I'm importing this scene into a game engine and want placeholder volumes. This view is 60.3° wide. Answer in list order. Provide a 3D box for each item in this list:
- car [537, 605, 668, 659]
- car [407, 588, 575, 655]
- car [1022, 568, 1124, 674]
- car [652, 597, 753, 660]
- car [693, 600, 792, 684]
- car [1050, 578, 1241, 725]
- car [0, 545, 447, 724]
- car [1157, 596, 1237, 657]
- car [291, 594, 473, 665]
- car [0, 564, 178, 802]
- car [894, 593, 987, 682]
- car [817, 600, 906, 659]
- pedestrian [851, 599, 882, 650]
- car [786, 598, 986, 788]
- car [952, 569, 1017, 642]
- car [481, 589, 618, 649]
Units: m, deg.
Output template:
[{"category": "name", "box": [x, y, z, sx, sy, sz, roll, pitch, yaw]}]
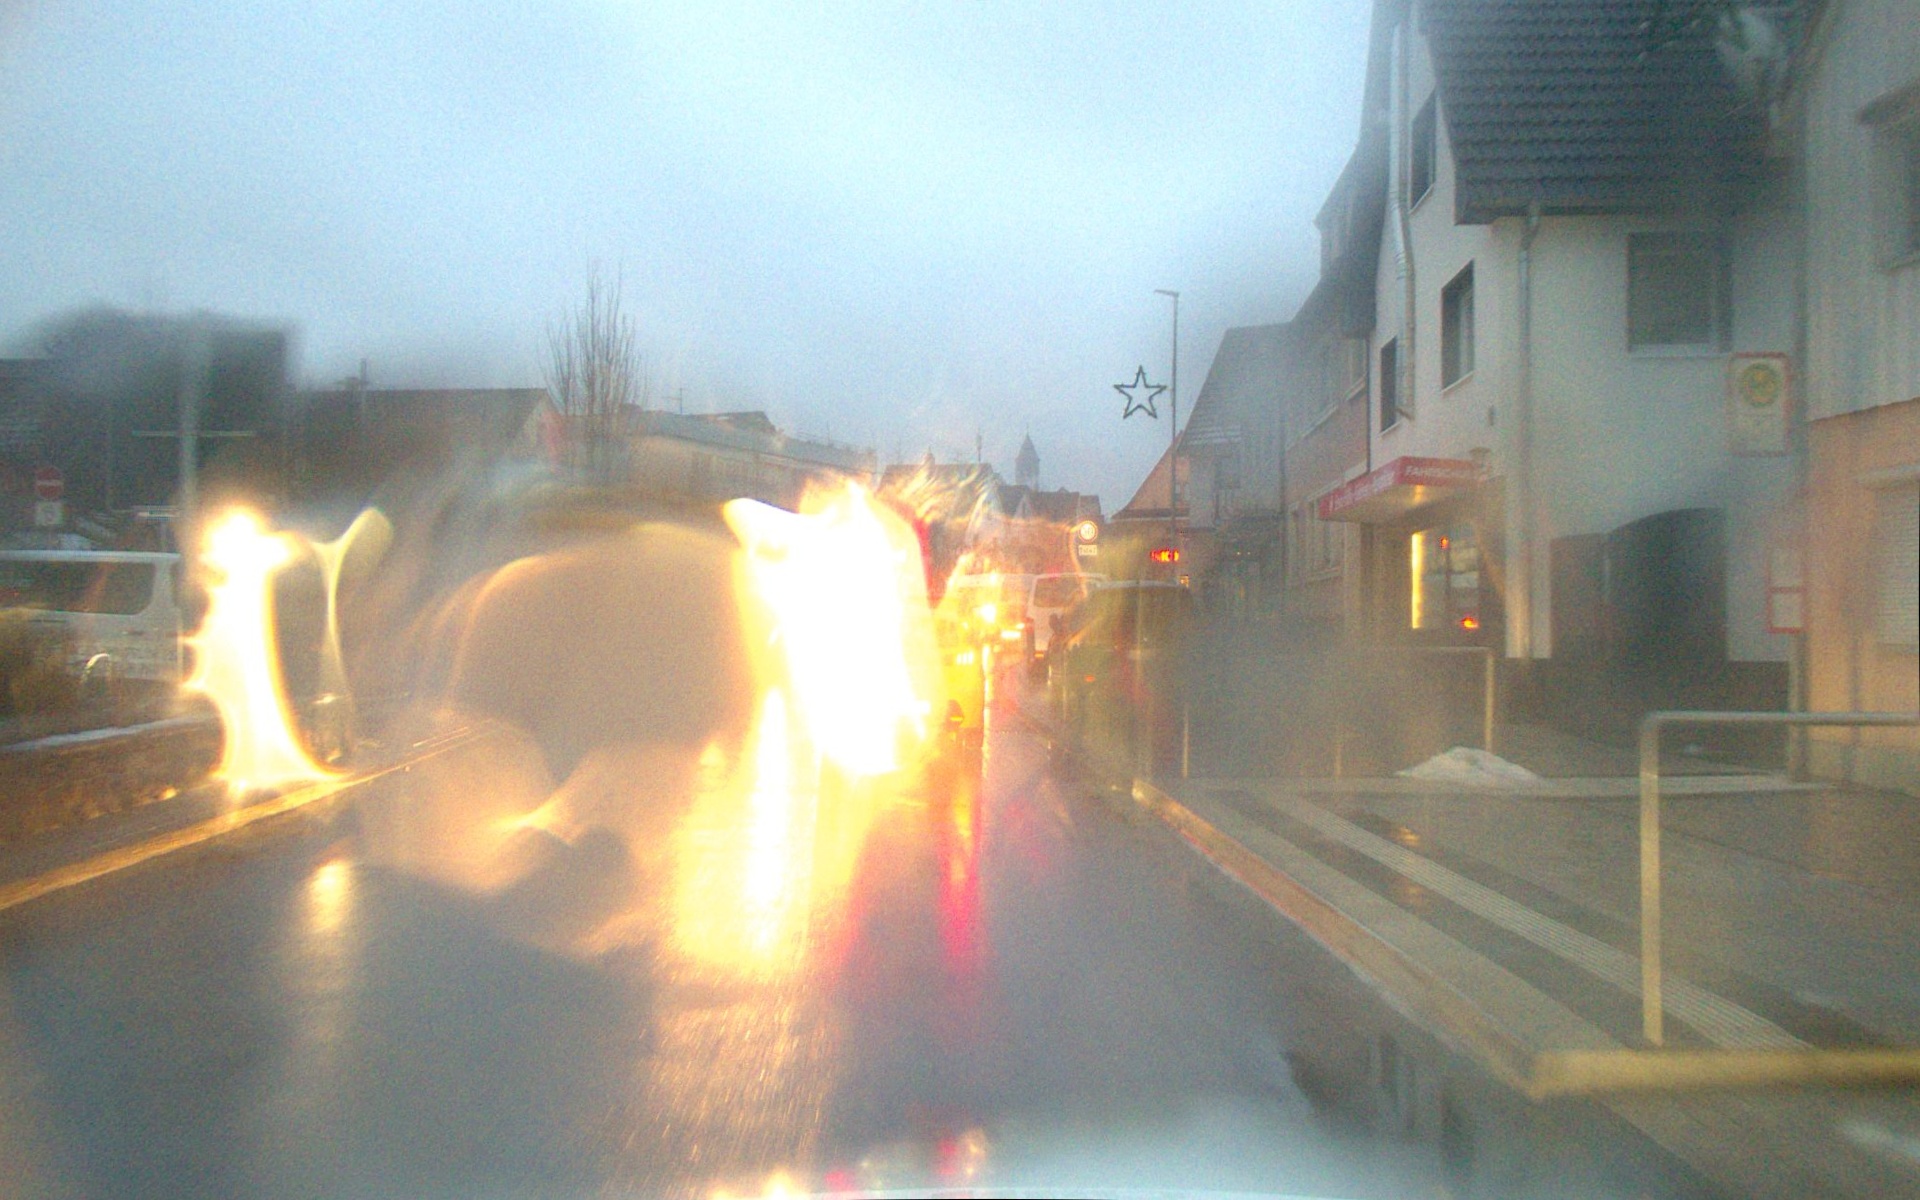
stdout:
[{"category": "car", "box": [-10.831, 0.936, 49.968, 3.929, 1.557, 1.988, 0, 0, 42]}, {"category": "car", "box": [-12.464, 0.585, 43.840, 4.566, 1.683, 1.979, -1, -1, 38]}, {"category": "car", "box": [2.251, 0.392, 34.018, 1.932, 1.994, 4.853, -1, 0, 2]}, {"category": "car", "box": [-6.788, 0.717, 43.975, 1.865, 1.560, 4.257, 0, 0, 2]}, {"category": "car", "box": [-4.289, 0.784, 33.072, 1.587, 1.506, 3.837, -2, 0, -2]}, {"category": "car", "box": [2.301, 0.598, 21.644, 1.934, 1.690, 4.459, -1, 0, -1]}, {"category": "car", "box": [-9.340, 0.352, 20.173, 5.637, 1.980, 1.993, 1, 1, 13]}, {"category": "car", "box": [6.573, 0.718, 46.185, 1.698, 1.588, 3.663, -1, 0, 0]}, {"category": "car", "box": [-12.814, 0.648, 36.602, 3.988, 1.485, 1.753, -1, -1, 33]}, {"category": "car", "box": [-8.549, 0.617, 12.913, 3.906, 1.713, 1.999, -1, 0, -2]}, {"category": "car", "box": [-0.458, 0.729, 33.848, 1.762, 1.691, 3.998, 1, 0, -3]}, {"category": "car", "box": [-2.752, 0.811, 47.166, 1.787, 1.545, 4.551, -1, 0, 6]}, {"category": "pedestrian", "box": [-3.520, 0.905, 62.352, 0.739, 1.899, 1.059, -1, -1, 29]}, {"category": "car", "box": [-0.788, 0.908, 18.570, 1.953, 1.827, 4.647, -1, 0, -2]}, {"category": "car", "box": [0.967, 0.180, 61.211, 2.149, 2.534, 6.145, 0, 0, 3]}, {"category": "car", "box": [-11.809, 0.569, 47.486, 4.034, 1.610, 1.713, -2, -1, 38]}]
